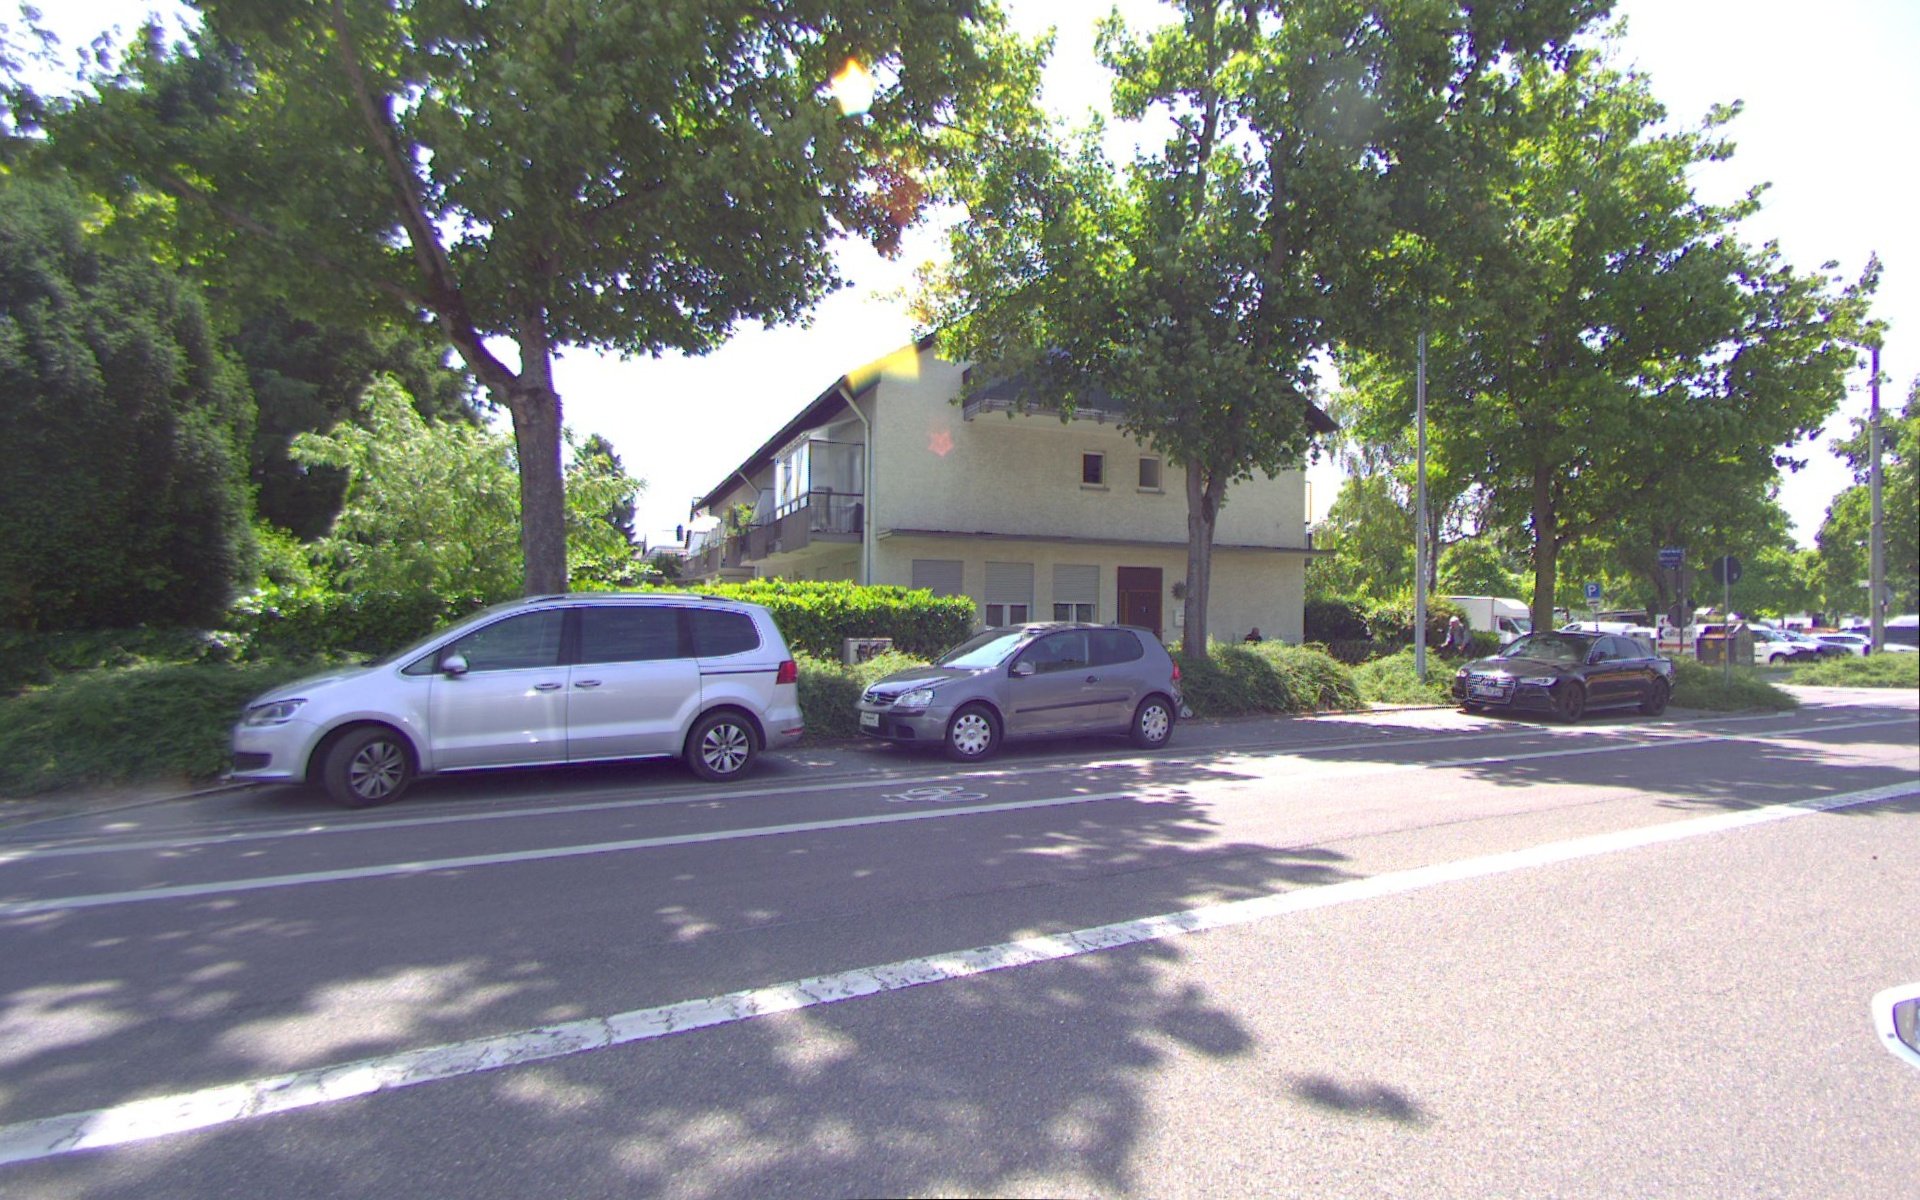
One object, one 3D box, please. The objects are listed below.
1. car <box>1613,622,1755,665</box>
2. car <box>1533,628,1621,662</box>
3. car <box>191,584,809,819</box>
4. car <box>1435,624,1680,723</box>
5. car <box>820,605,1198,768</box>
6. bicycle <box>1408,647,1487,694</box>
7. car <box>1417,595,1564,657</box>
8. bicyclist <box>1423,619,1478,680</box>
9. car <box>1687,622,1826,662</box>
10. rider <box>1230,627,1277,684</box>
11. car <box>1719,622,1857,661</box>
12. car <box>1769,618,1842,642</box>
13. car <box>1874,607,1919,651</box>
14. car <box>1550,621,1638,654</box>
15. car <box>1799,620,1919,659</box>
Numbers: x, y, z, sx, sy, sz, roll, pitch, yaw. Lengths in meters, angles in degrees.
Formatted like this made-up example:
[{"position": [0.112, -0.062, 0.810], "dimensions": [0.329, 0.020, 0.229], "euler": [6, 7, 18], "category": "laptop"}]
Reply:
[{"position": [29.377, 1.723, 40.892], "dimensions": [1.891, 1.606, 4.321], "euler": [1, -1, -31], "category": "car"}, {"position": [35.535, 2.579, 57.920], "dimensions": [1.799, 1.675, 3.957], "euler": [2, 1, -37], "category": "car"}, {"position": [-3.948, 0.754, 9.236], "dimensions": [4.725, 1.687, 1.863], "euler": [1, 0, -31], "category": "car"}, {"position": [10.569, 1.211, 17.700], "dimensions": [4.397, 1.496, 1.809], "euler": [1, 1, -31], "category": "car"}, {"position": [0.629, 0.904, 11.851], "dimensions": [4.132, 1.585, 1.809], "euler": [1, 1, -31], "category": "car"}, {"position": [11.601, 1.672, 23.896], "dimensions": [1.805, 1.043, 0.698], "euler": [2, 1, -27], "category": "bicycle"}, {"position": [28.765, 1.351, 54.791], "dimensions": [2.337, 3.005, 6.816], "euler": [2, 1, -30], "category": "car"}, {"position": [11.657, 1.171, 23.890], "dimensions": [0.817, 1.392, 0.806], "euler": [2, 1, -27], "category": "bicyclist"}, {"position": [33.930, 1.744, 42.927], "dimensions": [1.886, 1.606, 4.332], "euler": [1, -1, -24], "category": "car"}, {"position": [7.377, 1.380, 25.261], "dimensions": [0.800, 1.392, 0.824], "euler": [1, -1, -22], "category": "rider"}, {"position": [36.352, 1.792, 44.220], "dimensions": [1.886, 1.606, 4.333], "euler": [1, -1, -23], "category": "car"}, {"position": [66.338, 2.353, 78.864], "dimensions": [1.795, 1.638, 4.000], "euler": [2, 1, -30], "category": "car"}, {"position": [52.225, 1.612, 53.230], "dimensions": [2.349, 2.274, 5.076], "euler": [2, 1, -28], "category": "car"}, {"position": [37.458, 2.181, 59.413], "dimensions": [1.799, 1.675, 3.957], "euler": [2, 1, -37], "category": "car"}, {"position": [43.173, 1.875, 48.283], "dimensions": [1.975, 1.769, 3.968], "euler": [1, -1, -30], "category": "car"}]
